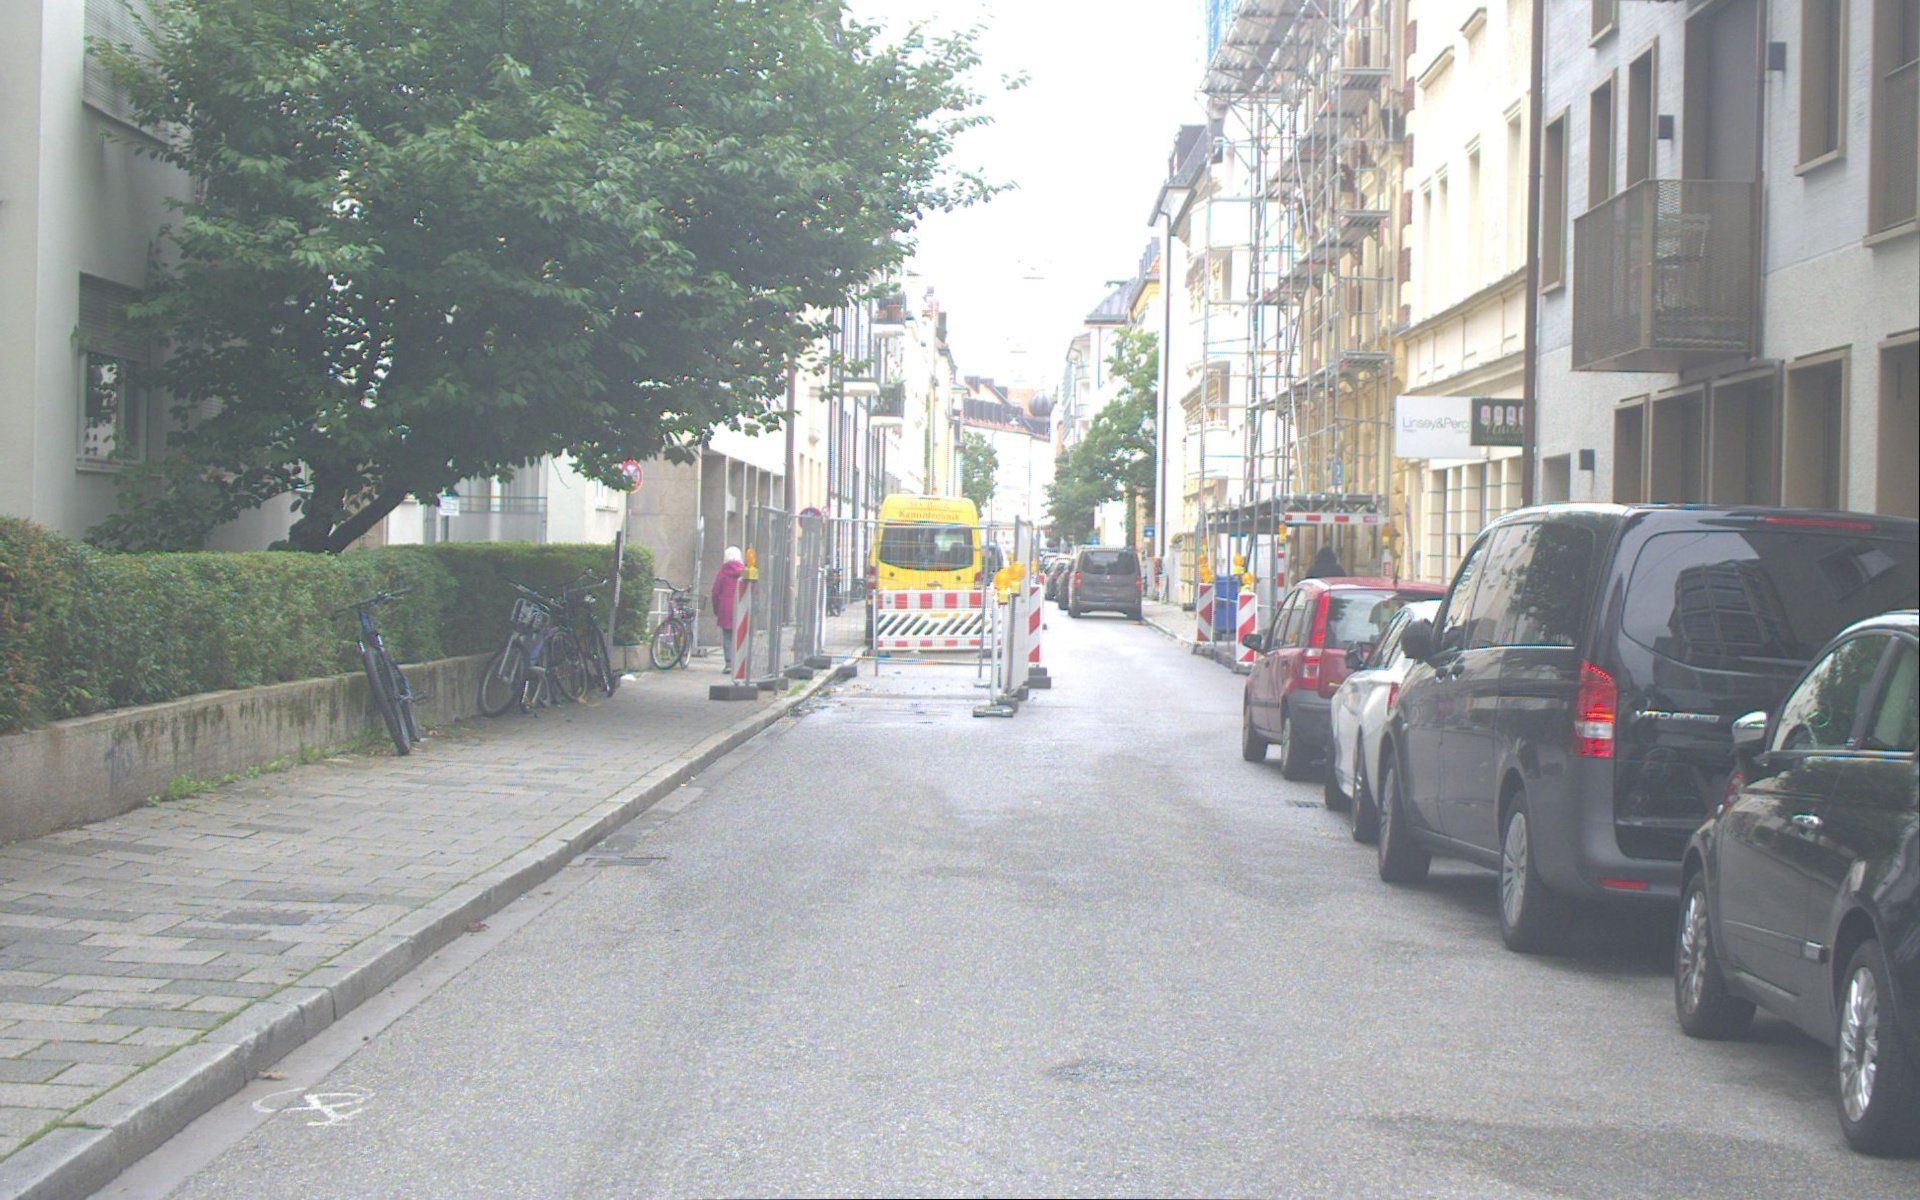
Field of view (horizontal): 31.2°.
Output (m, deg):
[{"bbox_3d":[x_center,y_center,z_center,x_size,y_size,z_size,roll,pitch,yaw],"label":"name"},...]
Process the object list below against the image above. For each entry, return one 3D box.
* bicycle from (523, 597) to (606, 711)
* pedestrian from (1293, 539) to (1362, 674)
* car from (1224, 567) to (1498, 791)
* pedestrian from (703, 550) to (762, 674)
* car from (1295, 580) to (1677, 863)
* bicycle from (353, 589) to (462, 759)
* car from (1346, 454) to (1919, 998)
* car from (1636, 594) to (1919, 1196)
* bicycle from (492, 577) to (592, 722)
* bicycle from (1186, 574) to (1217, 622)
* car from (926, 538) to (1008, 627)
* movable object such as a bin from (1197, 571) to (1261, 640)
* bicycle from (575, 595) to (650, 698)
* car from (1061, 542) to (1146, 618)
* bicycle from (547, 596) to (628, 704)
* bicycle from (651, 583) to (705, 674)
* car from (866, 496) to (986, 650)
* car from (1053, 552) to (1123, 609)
[{"bbox_3d":[-3.587,0.483,31.285,0.436,0.975,1.698,4,0,2],"label":"bicycle"},{"bbox_3d":[4.904,0.081,45.909,0.729,1.746,0.988,-3,1,0],"label":"pedestrian"},{"bbox_3d":[3.057,0.552,26.941,1.772,1.519,4.066,3,1,3],"label":"car"},{"bbox_3d":[-2.819,0.141,42.572,0.638,1.526,0.747,0,1,3],"label":"pedestrian"},{"bbox_3d":[3.125,0.659,21.247,1.768,1.456,4.380,3,1,2],"label":"car"},{"bbox_3d":[-3.741,0.482,23.364,0.347,1.068,1.780,5,1,1],"label":"bicycle"},{"bbox_3d":[3.115,0.452,15.348,1.990,1.970,4.885,3,1,-2],"label":"car"},{"bbox_3d":[3.210,0.775,10.342,1.634,1.466,3.538,3,1,1],"label":"car"},{"bbox_3d":[-3.492,0.404,28.817,0.488,1.147,1.698,4,0,2],"label":"bicycle"},{"bbox_3d":[6.041,-0.056,86.087,0.638,1.149,1.915,-2,1,1],"label":"bicycle"},{"bbox_3d":[0.169,-0.403,76.175,1.727,1.891,5.509,-1,1,0],"label":"car"},{"bbox_3d":[5.519,0.107,70.579,1.087,1.341,1.317,-2,1,13],"label":"movable object such as a bin"},{"bbox_3d":[-3.501,0.461,34.711,0.443,0.975,1.816,4,0,2],"label":"bicycle"},{"bbox_3d":[3.854,-0.569,92.975,1.993,1.925,4.660,2,1,0],"label":"car"},{"bbox_3d":[-3.548,0.471,32.846,0.443,0.975,1.853,4,0,2],"label":"bicycle"},{"bbox_3d":[-3.494,0.340,42.654,0.377,1.059,1.597,7,1,1],"label":"bicycle"},{"bbox_3d":[-0.572,-0.494,61.010,1.993,2.570,6.737,1,1,0],"label":"car"},{"bbox_3d":[3.817,-0.594,103.142,1.894,1.635,4.322,1,1,0],"label":"car"}]
